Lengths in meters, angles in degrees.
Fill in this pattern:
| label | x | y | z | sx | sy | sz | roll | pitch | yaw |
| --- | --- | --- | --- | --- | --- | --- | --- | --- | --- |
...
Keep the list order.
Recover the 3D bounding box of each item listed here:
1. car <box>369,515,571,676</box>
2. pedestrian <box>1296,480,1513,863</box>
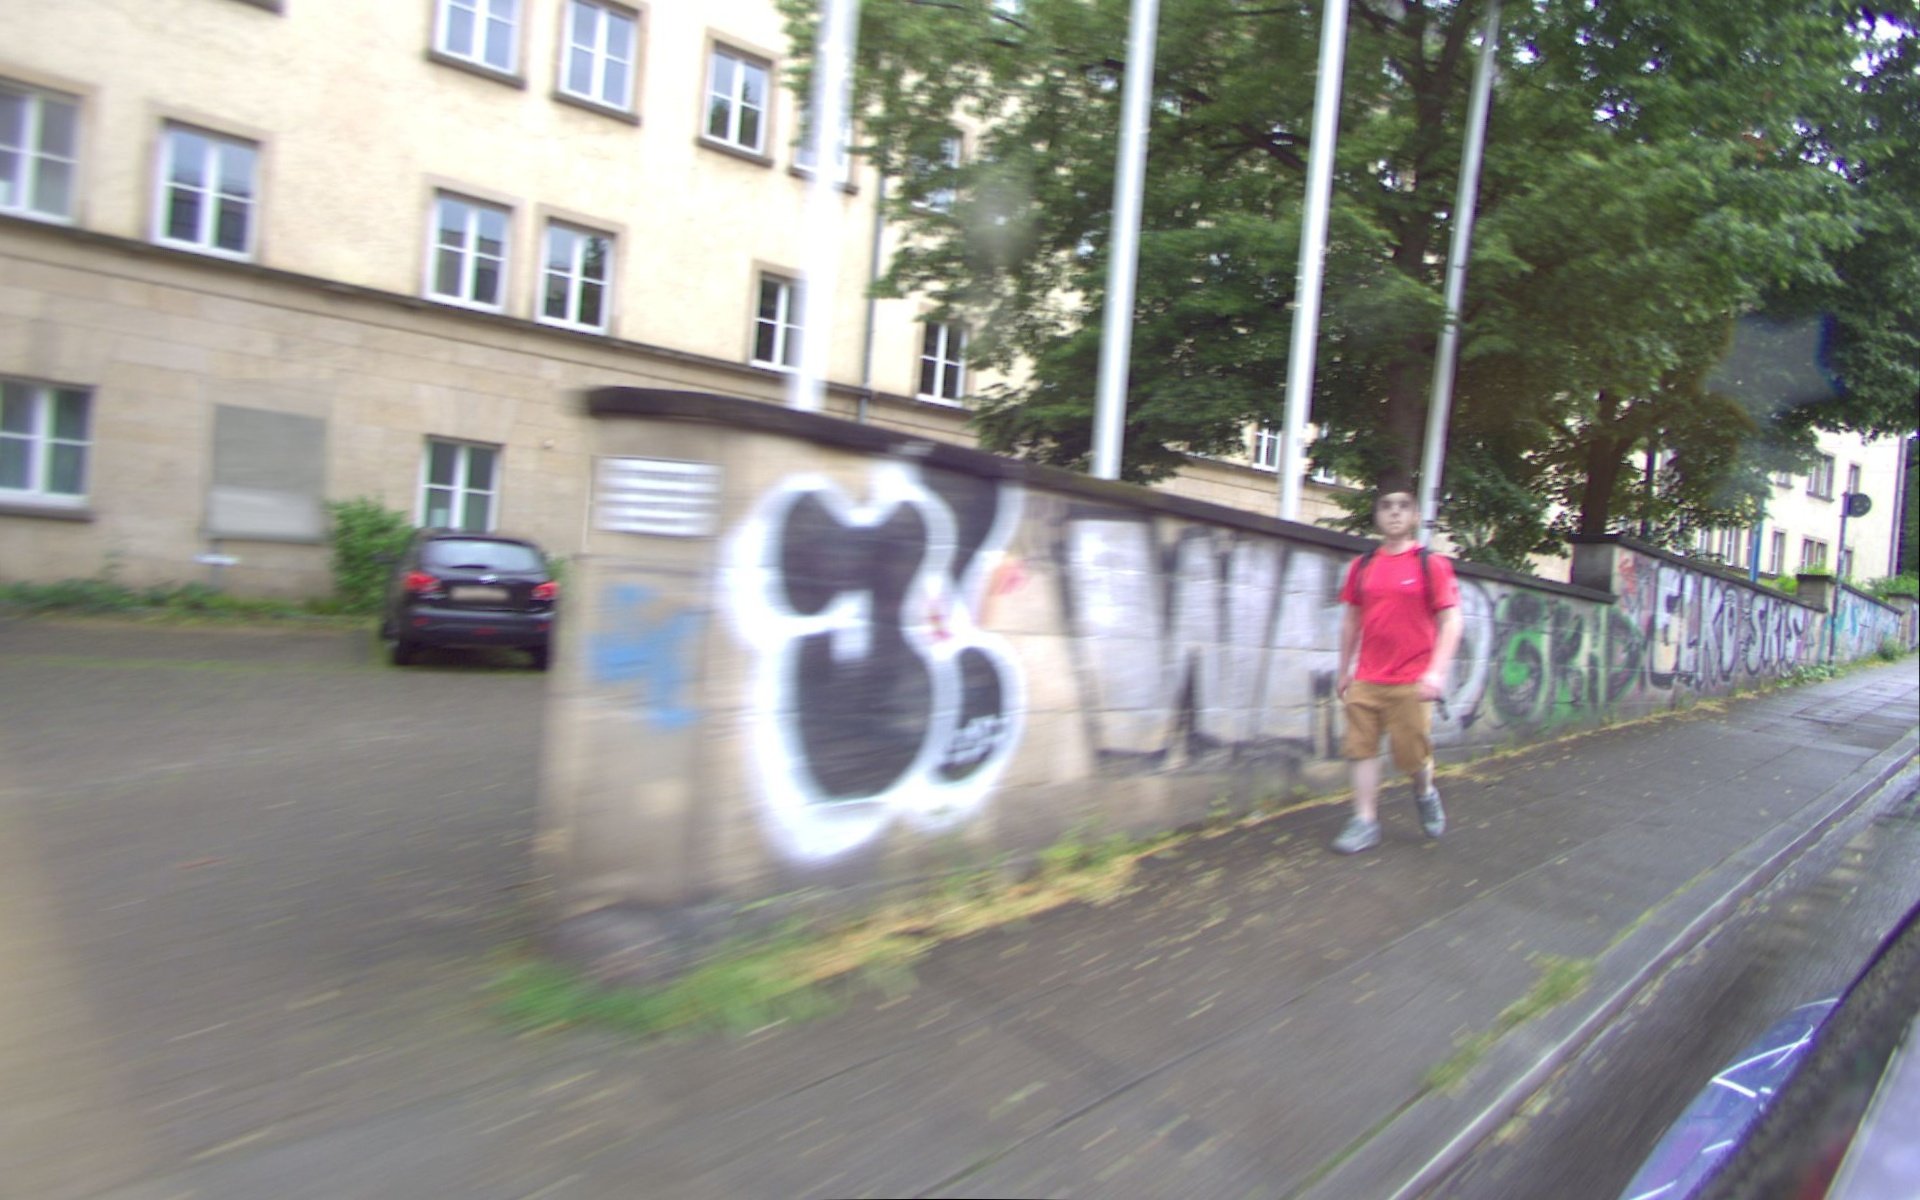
| label | x | y | z | sx | sy | sz | roll | pitch | yaw |
| --- | --- | --- | --- | --- | --- | --- | --- | --- | --- |
| car | -6.432 | -0.165 | 12.983 | 1.760 | 1.607 | 4.471 | 4 | 3 | -32 |
| pedestrian | 2.214 | 0.308 | 5.050 | 0.698 | 1.742 | 0.634 | 1 | 3 | -40 |
